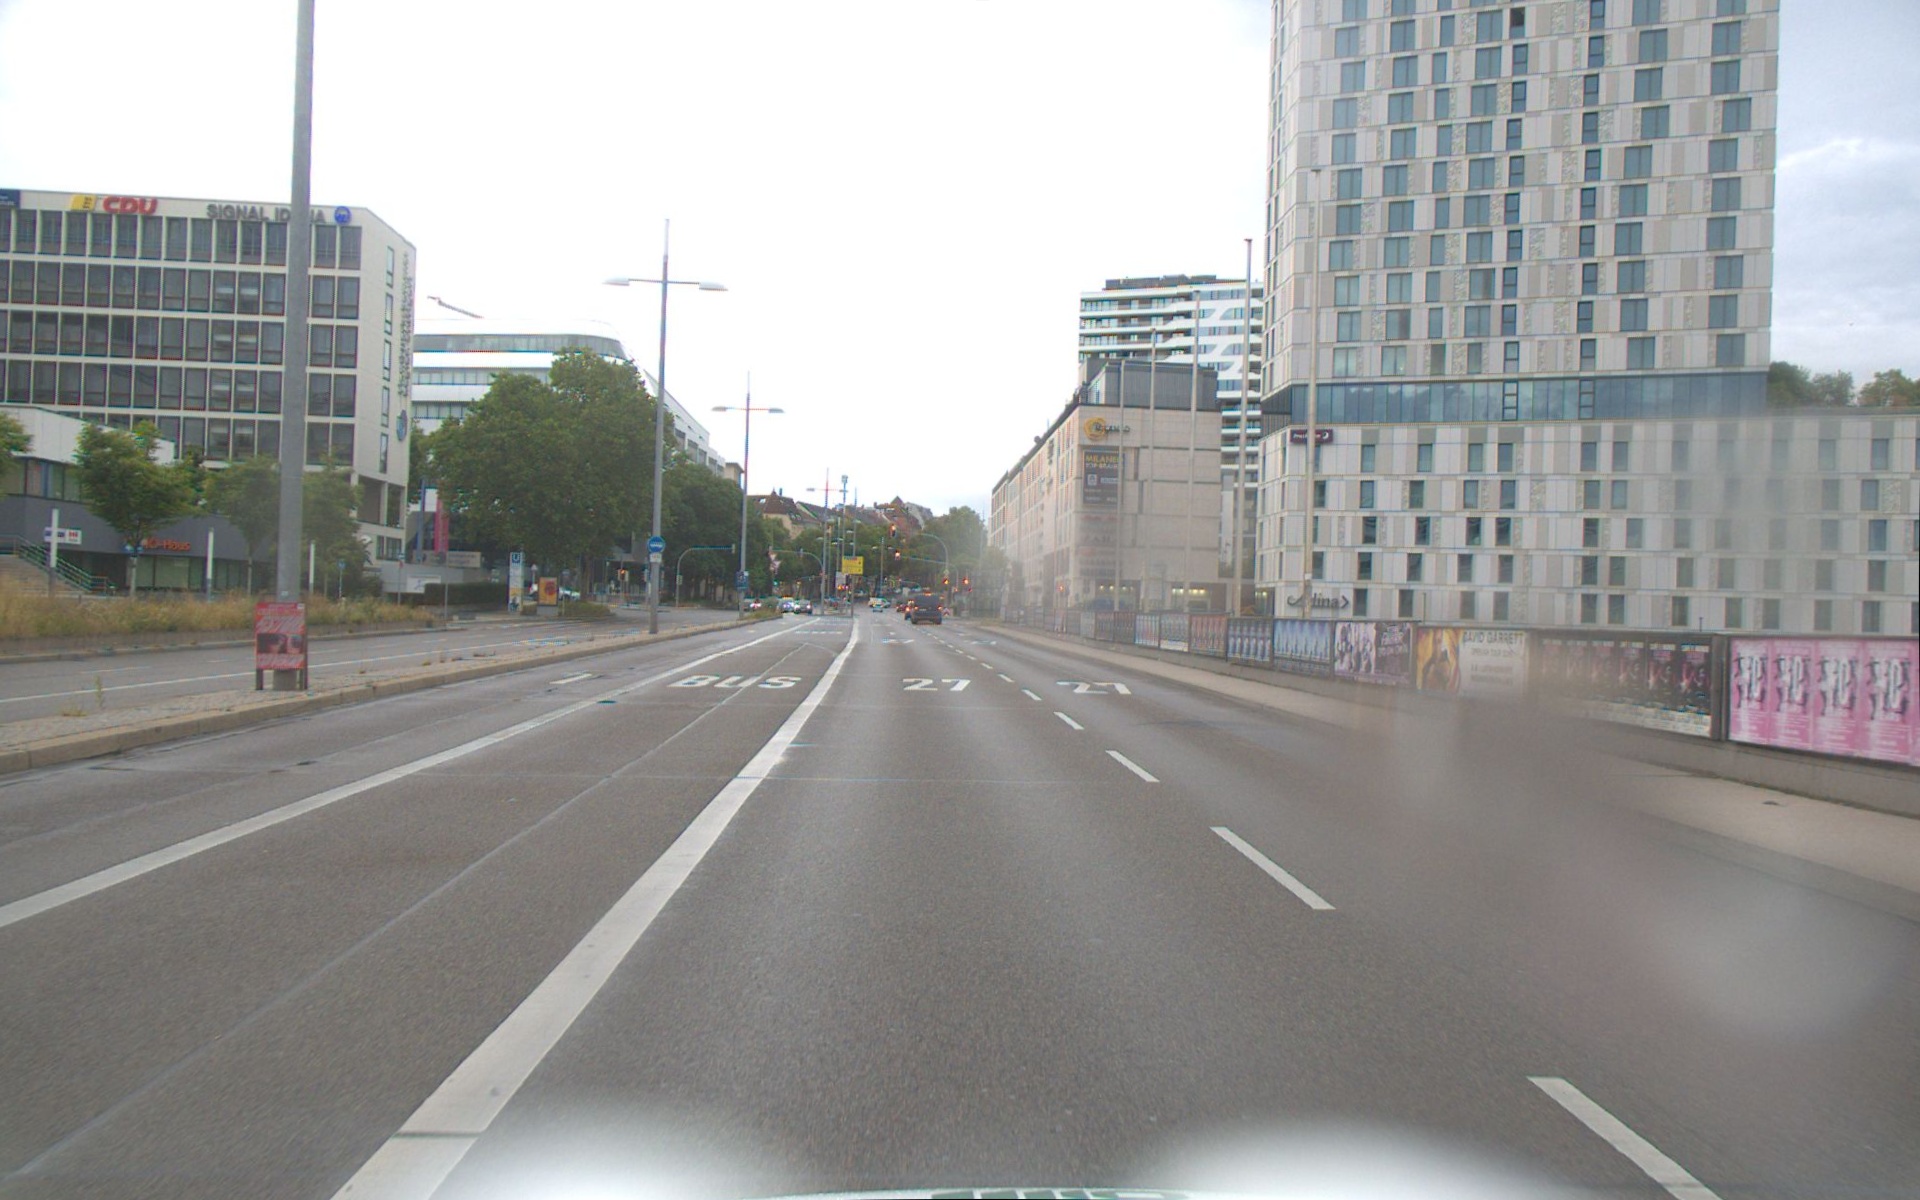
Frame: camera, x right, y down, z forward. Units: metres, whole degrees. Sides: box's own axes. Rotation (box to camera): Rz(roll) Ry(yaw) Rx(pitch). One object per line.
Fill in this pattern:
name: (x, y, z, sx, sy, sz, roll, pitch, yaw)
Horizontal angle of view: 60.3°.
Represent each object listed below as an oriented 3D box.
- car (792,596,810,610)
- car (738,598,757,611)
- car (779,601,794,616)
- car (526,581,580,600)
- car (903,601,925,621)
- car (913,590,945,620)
car: (-17.317, 0.291, 180.256, 1.708, 1.470, 3.392, 1, -1, -3)
car: (-23.188, 0.543, 180.613, 1.708, 1.352, 4.222, 1, -1, -3)
car: (-21.243, 1.033, 202.608, 1.708, 1.779, 3.537, 1, -1, -3)
car: (-37.460, -0.837, 152.331, 4.405, 1.660, 1.896, 0, -1, 13)
car: (-3.748, 0.923, 135.292, 1.705, 1.558, 3.811, 1, -1, -3)
car: (-2.098, 0.301, 110.614, 1.992, 1.915, 5.039, -2, 1, -3)
